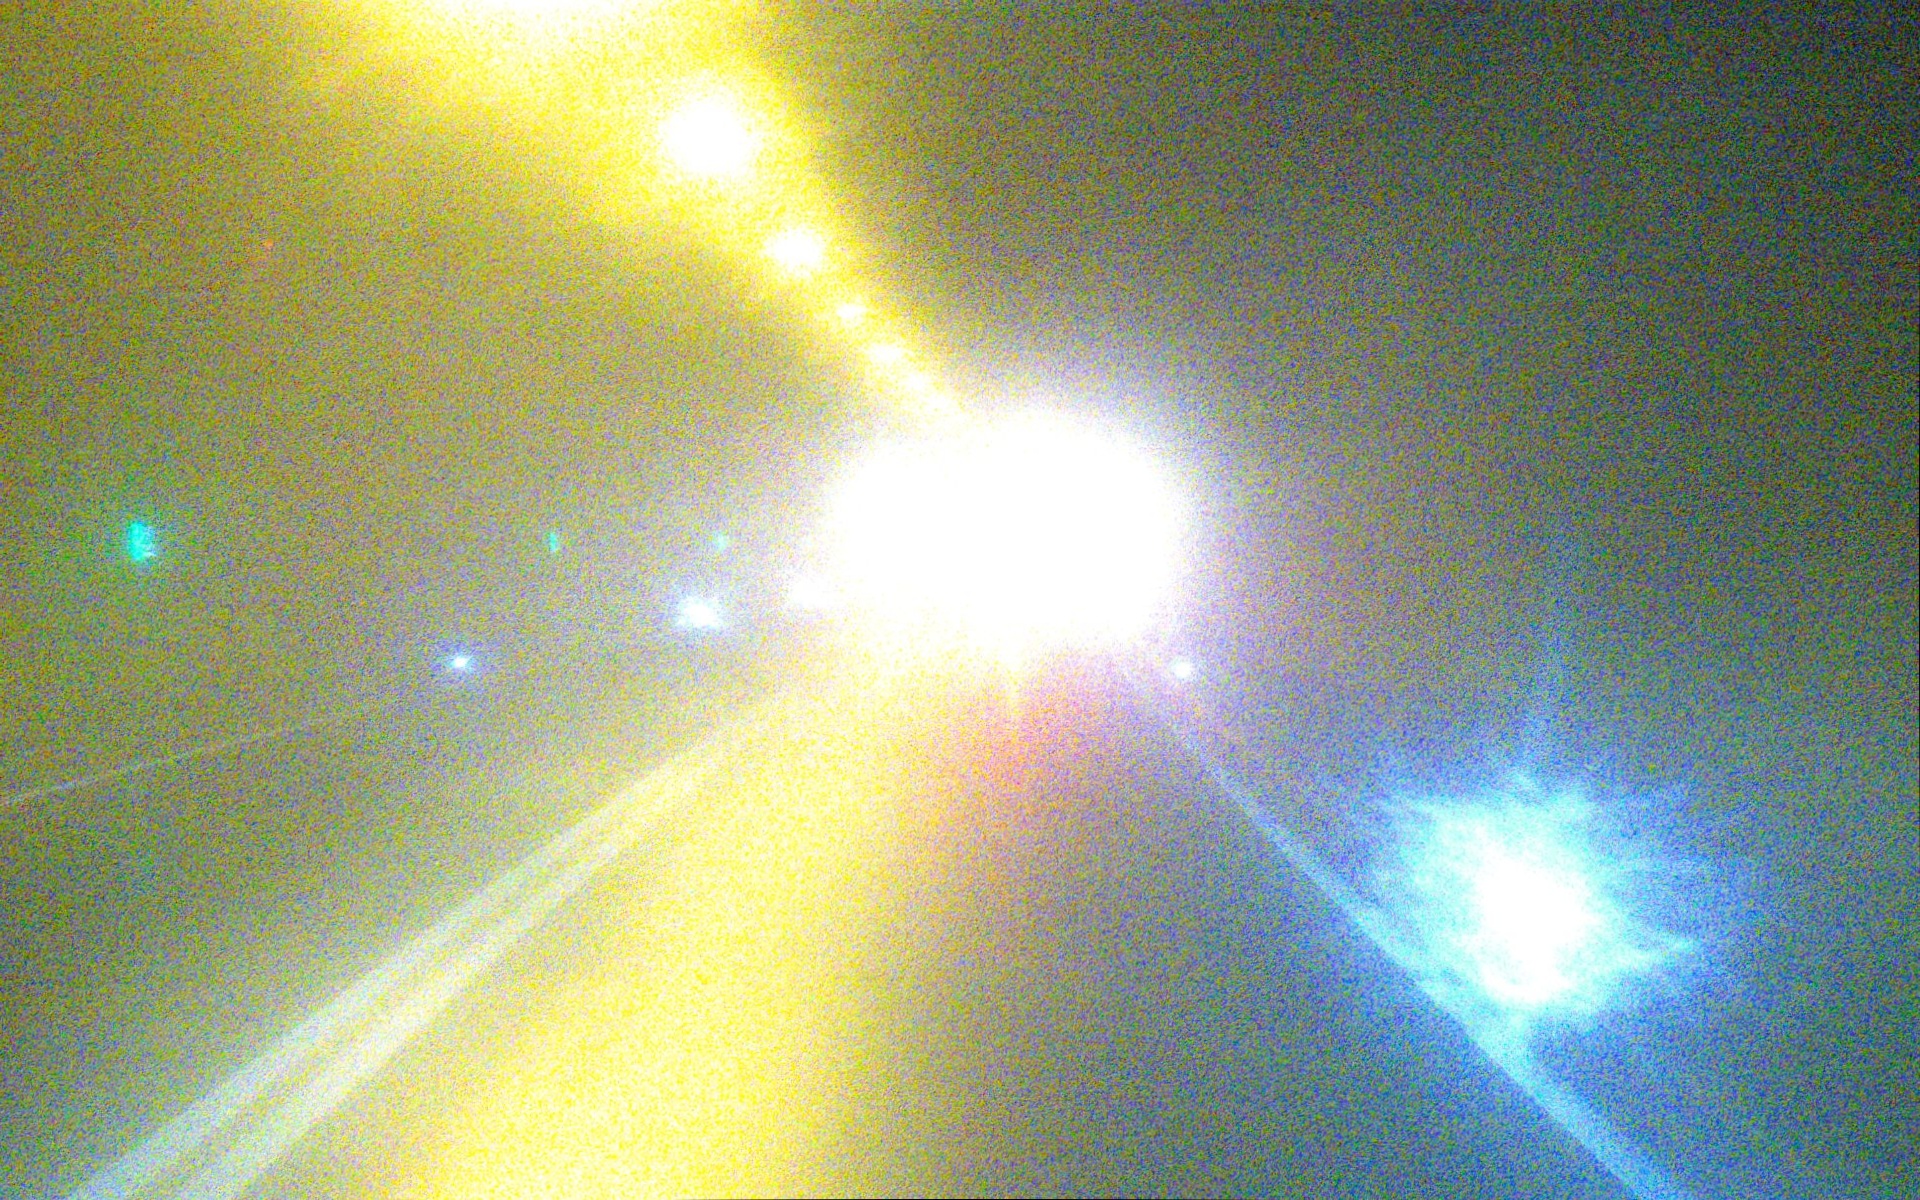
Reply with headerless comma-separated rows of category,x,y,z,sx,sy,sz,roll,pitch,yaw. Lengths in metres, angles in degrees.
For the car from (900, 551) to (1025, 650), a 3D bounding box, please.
car,0.080,-0.010,60.337,2.089,1.656,4.000,1,0,1
